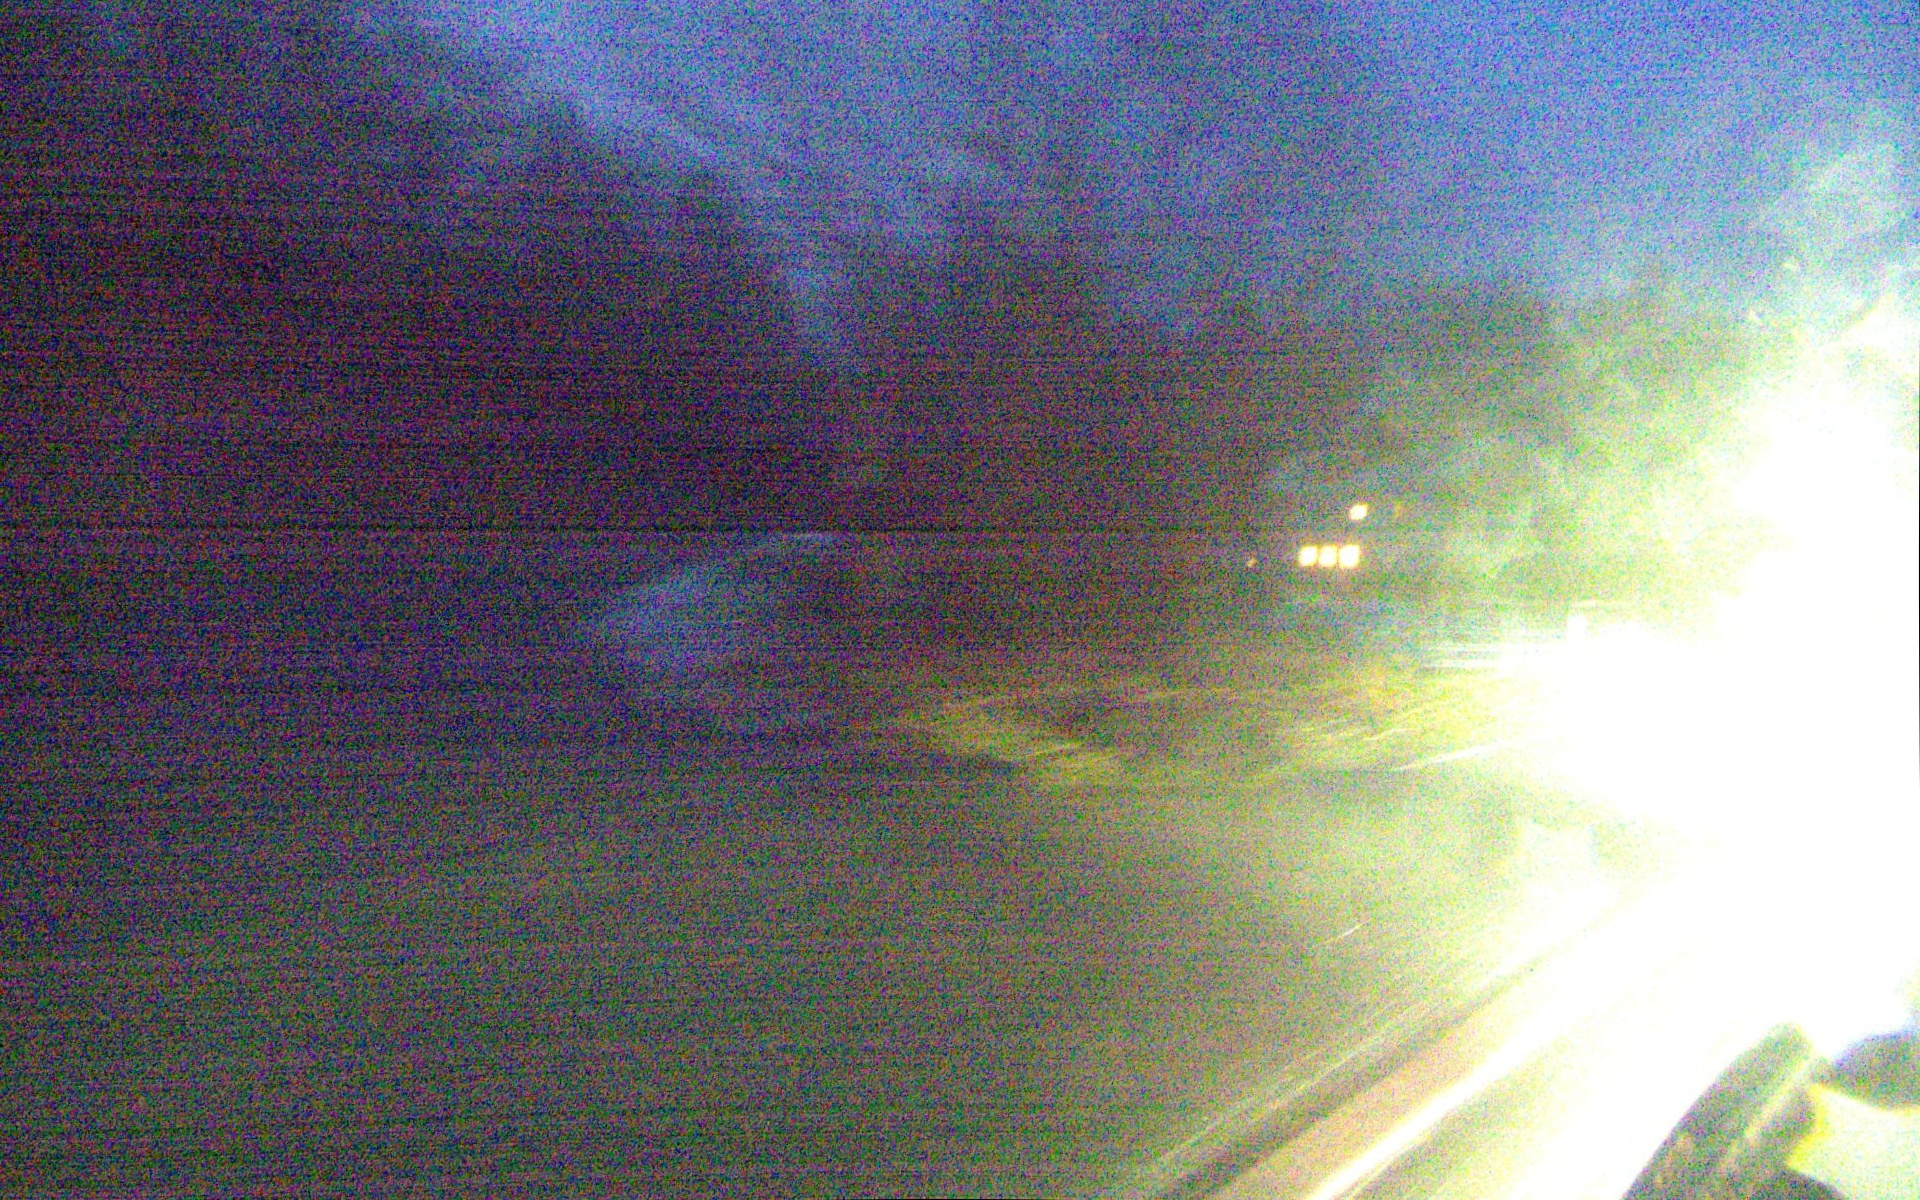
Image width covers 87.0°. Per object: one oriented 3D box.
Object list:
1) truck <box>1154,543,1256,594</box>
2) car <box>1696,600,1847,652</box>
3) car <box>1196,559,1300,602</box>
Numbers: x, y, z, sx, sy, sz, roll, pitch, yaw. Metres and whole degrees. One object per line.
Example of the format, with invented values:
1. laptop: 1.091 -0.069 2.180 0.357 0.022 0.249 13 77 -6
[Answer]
1. truck: 13.830 -1.717 57.124 5.300 2.788 2.207 0 0 26
2. car: 28.414 0.849 35.565 1.714 1.539 3.745 0 3 -28
3. car: 14.590 -1.023 51.431 1.965 2.038 4.751 0 2 -41
